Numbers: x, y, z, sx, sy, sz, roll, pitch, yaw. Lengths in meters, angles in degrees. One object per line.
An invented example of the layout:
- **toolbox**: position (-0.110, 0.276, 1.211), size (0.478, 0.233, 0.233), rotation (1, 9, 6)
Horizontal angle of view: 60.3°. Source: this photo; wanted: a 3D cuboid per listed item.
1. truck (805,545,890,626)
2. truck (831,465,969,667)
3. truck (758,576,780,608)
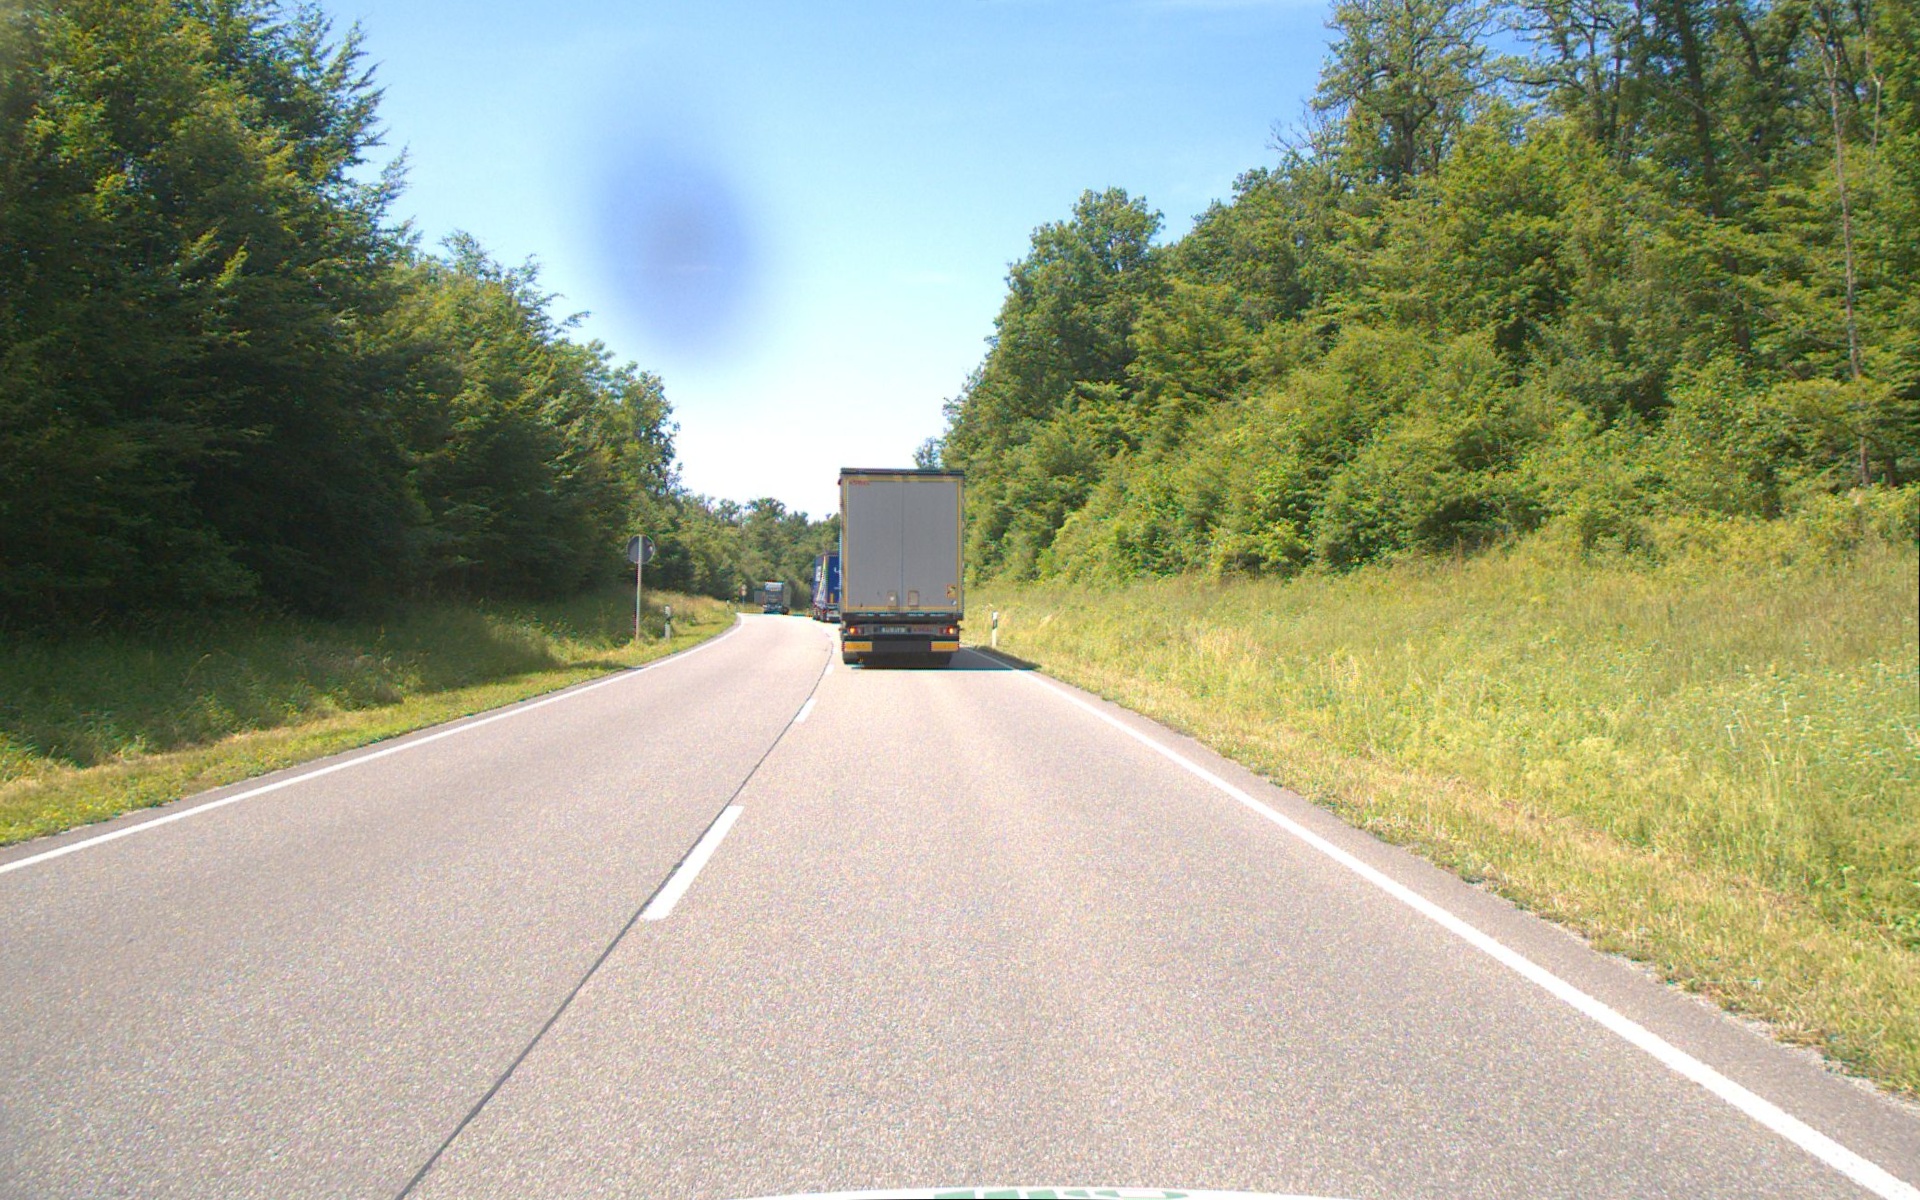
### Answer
- **truck**: position (-6.992, -0.873, 100.258), size (3.723, 4.449, 14.889), rotation (2, 0, -9)
- **truck**: position (-1.444, -0.697, 39.332), size (2.706, 4.016, 12.191), rotation (1, 0, -2)
- **truck**: position (-26.268, -1.095, 227.849), size (2.867, 4.289, 5.333), rotation (-1, 0, -8)
